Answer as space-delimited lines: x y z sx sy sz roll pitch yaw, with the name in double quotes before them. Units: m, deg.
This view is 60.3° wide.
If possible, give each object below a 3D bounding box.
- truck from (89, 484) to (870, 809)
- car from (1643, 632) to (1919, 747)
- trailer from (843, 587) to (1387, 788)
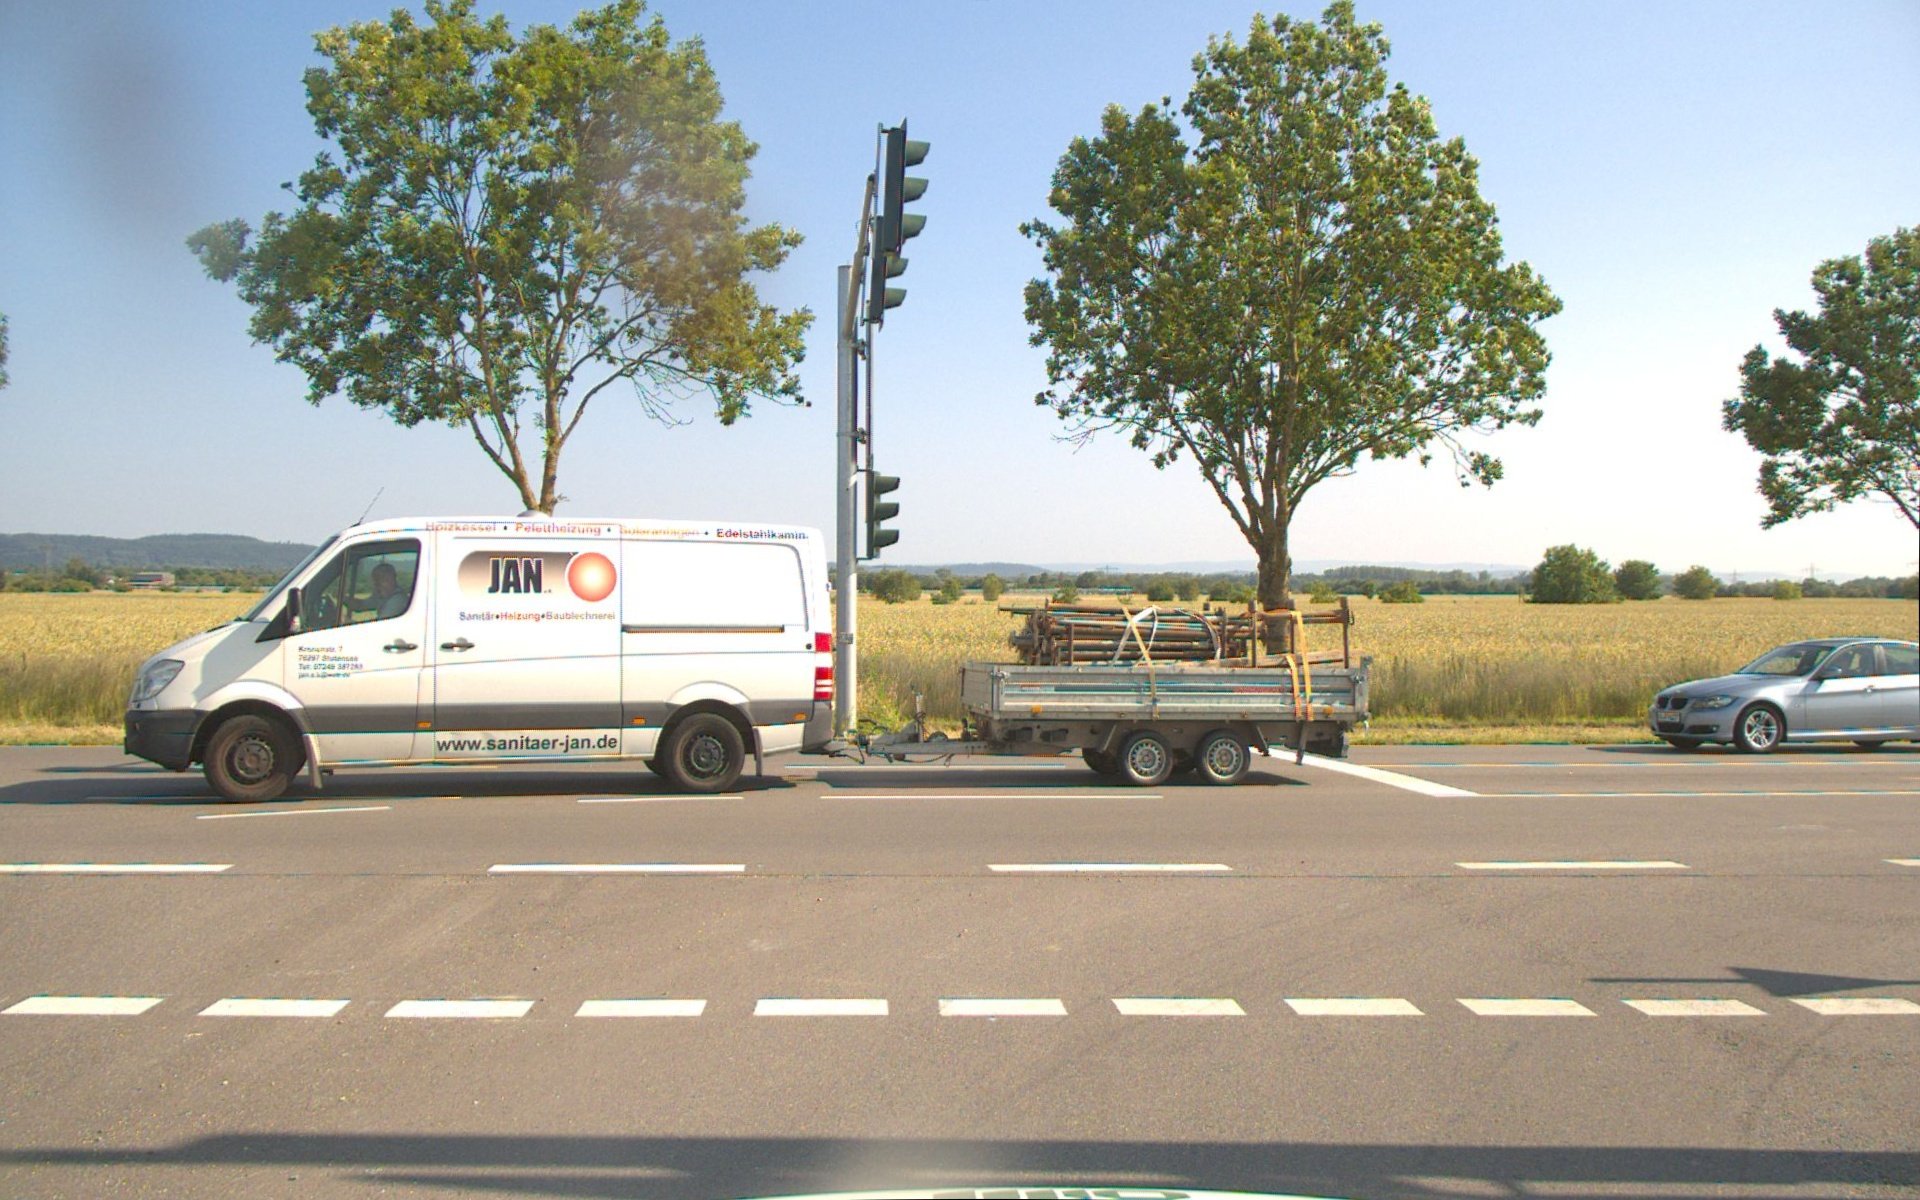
"truck" -3.980 0.394 14.429 6.083 2.447 2.060 1 -1 -19
"car" 11.264 1.136 21.309 4.324 1.401 1.631 0 -2 -8
"trailer" 1.404 0.803 15.964 4.903 1.768 1.976 0 -1 -9
